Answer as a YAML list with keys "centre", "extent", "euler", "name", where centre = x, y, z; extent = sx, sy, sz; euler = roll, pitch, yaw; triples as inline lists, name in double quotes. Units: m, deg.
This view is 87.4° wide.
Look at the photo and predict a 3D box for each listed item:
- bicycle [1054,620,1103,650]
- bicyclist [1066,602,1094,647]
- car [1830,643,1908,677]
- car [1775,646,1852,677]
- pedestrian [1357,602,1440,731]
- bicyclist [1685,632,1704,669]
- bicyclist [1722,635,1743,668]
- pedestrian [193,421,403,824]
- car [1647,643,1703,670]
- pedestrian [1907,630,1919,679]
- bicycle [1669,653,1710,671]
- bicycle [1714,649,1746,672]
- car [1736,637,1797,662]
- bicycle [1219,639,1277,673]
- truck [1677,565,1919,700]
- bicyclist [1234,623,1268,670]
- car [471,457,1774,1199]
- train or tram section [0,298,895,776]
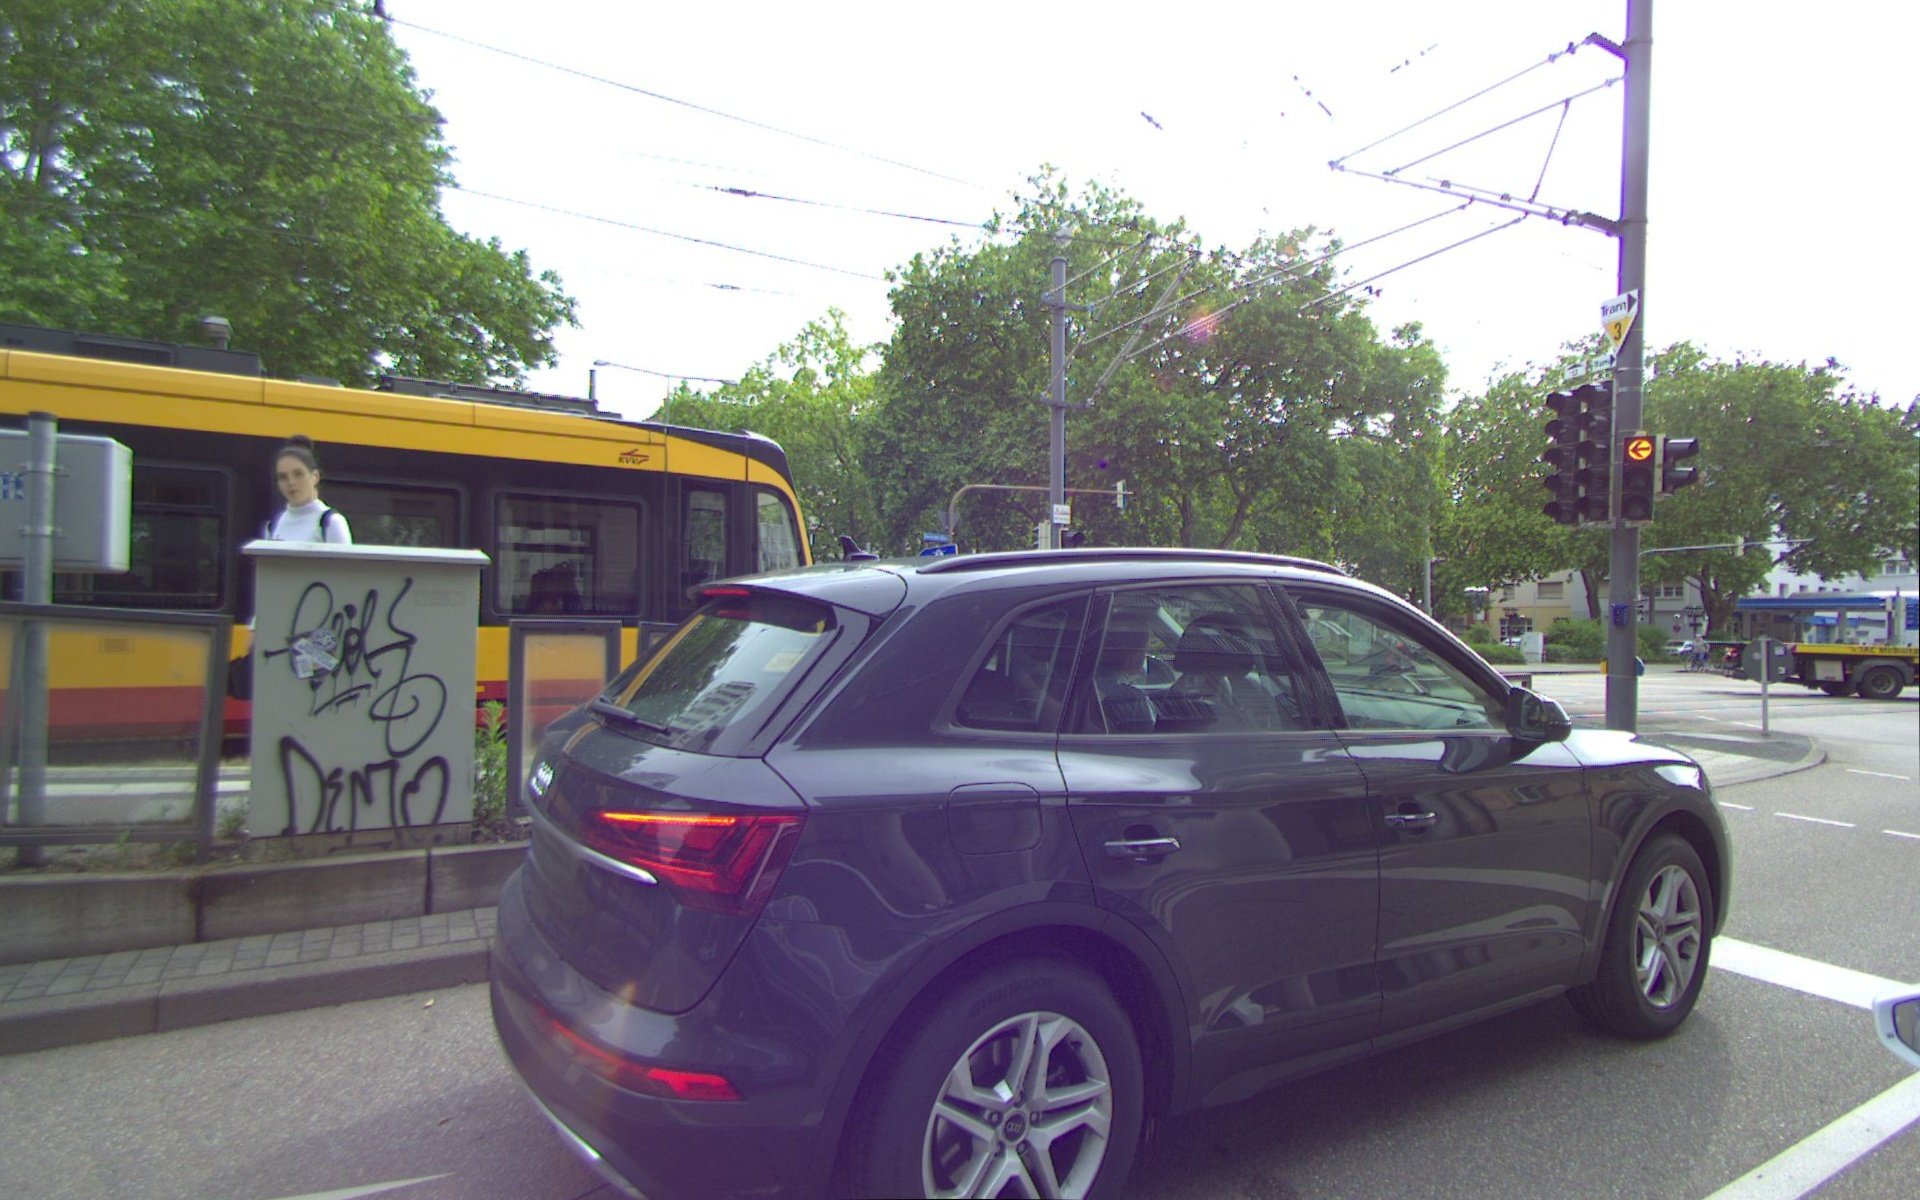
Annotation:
- centre: [4.934, 1.458, 41.856]
  extent: [1.873, 1.158, 0.627]
  euler: [2, 0, 32]
  name: "bicycle"
- centre: [5.006, 1.012, 41.850]
  extent: [0.951, 1.843, 0.531]
  euler: [2, 0, 32]
  name: "bicyclist"
- centre: [46.761, 3.081, 51.668]
  extent: [3.792, 1.578, 1.885]
  euler: [2, 0, -30]
  name: "car"
- centre: [41.299, 2.971, 48.600]
  extent: [3.954, 1.343, 1.626]
  euler: [2, 0, -31]
  name: "car"
- centre: [6.020, 0.893, 13.836]
  extent: [0.851, 1.702, 0.673]
  euler: [2, 0, 9]
  name: "pedestrian"
- centre: [35.867, 2.463, 49.056]
  extent: [0.461, 1.808, 0.534]
  euler: [2, 0, -10]
  name: "bicyclist"
- centre: [37.245, 2.484, 48.412]
  extent: [0.611, 1.588, 0.585]
  euler: [2, 0, -30]
  name: "bicyclist"
- centre: [-3.053, 0.100, 4.705]
  extent: [0.722, 1.683, 0.750]
  euler: [2, 0, -30]
  name: "pedestrian"
- centre: [45.199, 3.575, 63.510]
  extent: [3.802, 1.578, 1.879]
  euler: [2, 0, -38]
  name: "car"
- centre: [36.182, 2.068, 37.878]
  extent: [0.513, 1.818, 0.569]
  euler: [2, 0, -34]
  name: "pedestrian"
- centre: [35.712, 3.041, 49.194]
  extent: [0.644, 0.783, 1.682]
  euler: [2, 0, -9]
  name: "bicycle"
- centre: [36.992, 2.899, 48.271]
  extent: [1.914, 1.031, 0.519]
  euler: [2, 0, -30]
  name: "bicycle"
- centre: [54.725, 3.356, 68.157]
  extent: [3.954, 1.550, 1.984]
  euler: [2, 0, -30]
  name: "car"
- centre: [10.814, 2.099, 37.747]
  extent: [1.914, 1.151, 0.732]
  euler: [2, 0, 40]
  name: "bicycle"
- centre: [23.136, 0.797, 23.468]
  extent: [9.978, 2.980, 2.637]
  euler: [1, 0, 20]
  name: "truck"
- centre: [10.910, 1.722, 37.662]
  extent: [1.026, 1.706, 0.641]
  euler: [2, 0, 41]
  name: "bicyclist"
- centre: [0.774, 0.652, 3.512]
  extent: [4.308, 1.622, 1.870]
  euler: [2, -1, -31]
  name: "car"
- centre: [-8.283, -0.502, 8.821]
  extent: [15.665, 3.636, 3.045]
  euler: [2, 0, -31]
  name: "train or tram section"
